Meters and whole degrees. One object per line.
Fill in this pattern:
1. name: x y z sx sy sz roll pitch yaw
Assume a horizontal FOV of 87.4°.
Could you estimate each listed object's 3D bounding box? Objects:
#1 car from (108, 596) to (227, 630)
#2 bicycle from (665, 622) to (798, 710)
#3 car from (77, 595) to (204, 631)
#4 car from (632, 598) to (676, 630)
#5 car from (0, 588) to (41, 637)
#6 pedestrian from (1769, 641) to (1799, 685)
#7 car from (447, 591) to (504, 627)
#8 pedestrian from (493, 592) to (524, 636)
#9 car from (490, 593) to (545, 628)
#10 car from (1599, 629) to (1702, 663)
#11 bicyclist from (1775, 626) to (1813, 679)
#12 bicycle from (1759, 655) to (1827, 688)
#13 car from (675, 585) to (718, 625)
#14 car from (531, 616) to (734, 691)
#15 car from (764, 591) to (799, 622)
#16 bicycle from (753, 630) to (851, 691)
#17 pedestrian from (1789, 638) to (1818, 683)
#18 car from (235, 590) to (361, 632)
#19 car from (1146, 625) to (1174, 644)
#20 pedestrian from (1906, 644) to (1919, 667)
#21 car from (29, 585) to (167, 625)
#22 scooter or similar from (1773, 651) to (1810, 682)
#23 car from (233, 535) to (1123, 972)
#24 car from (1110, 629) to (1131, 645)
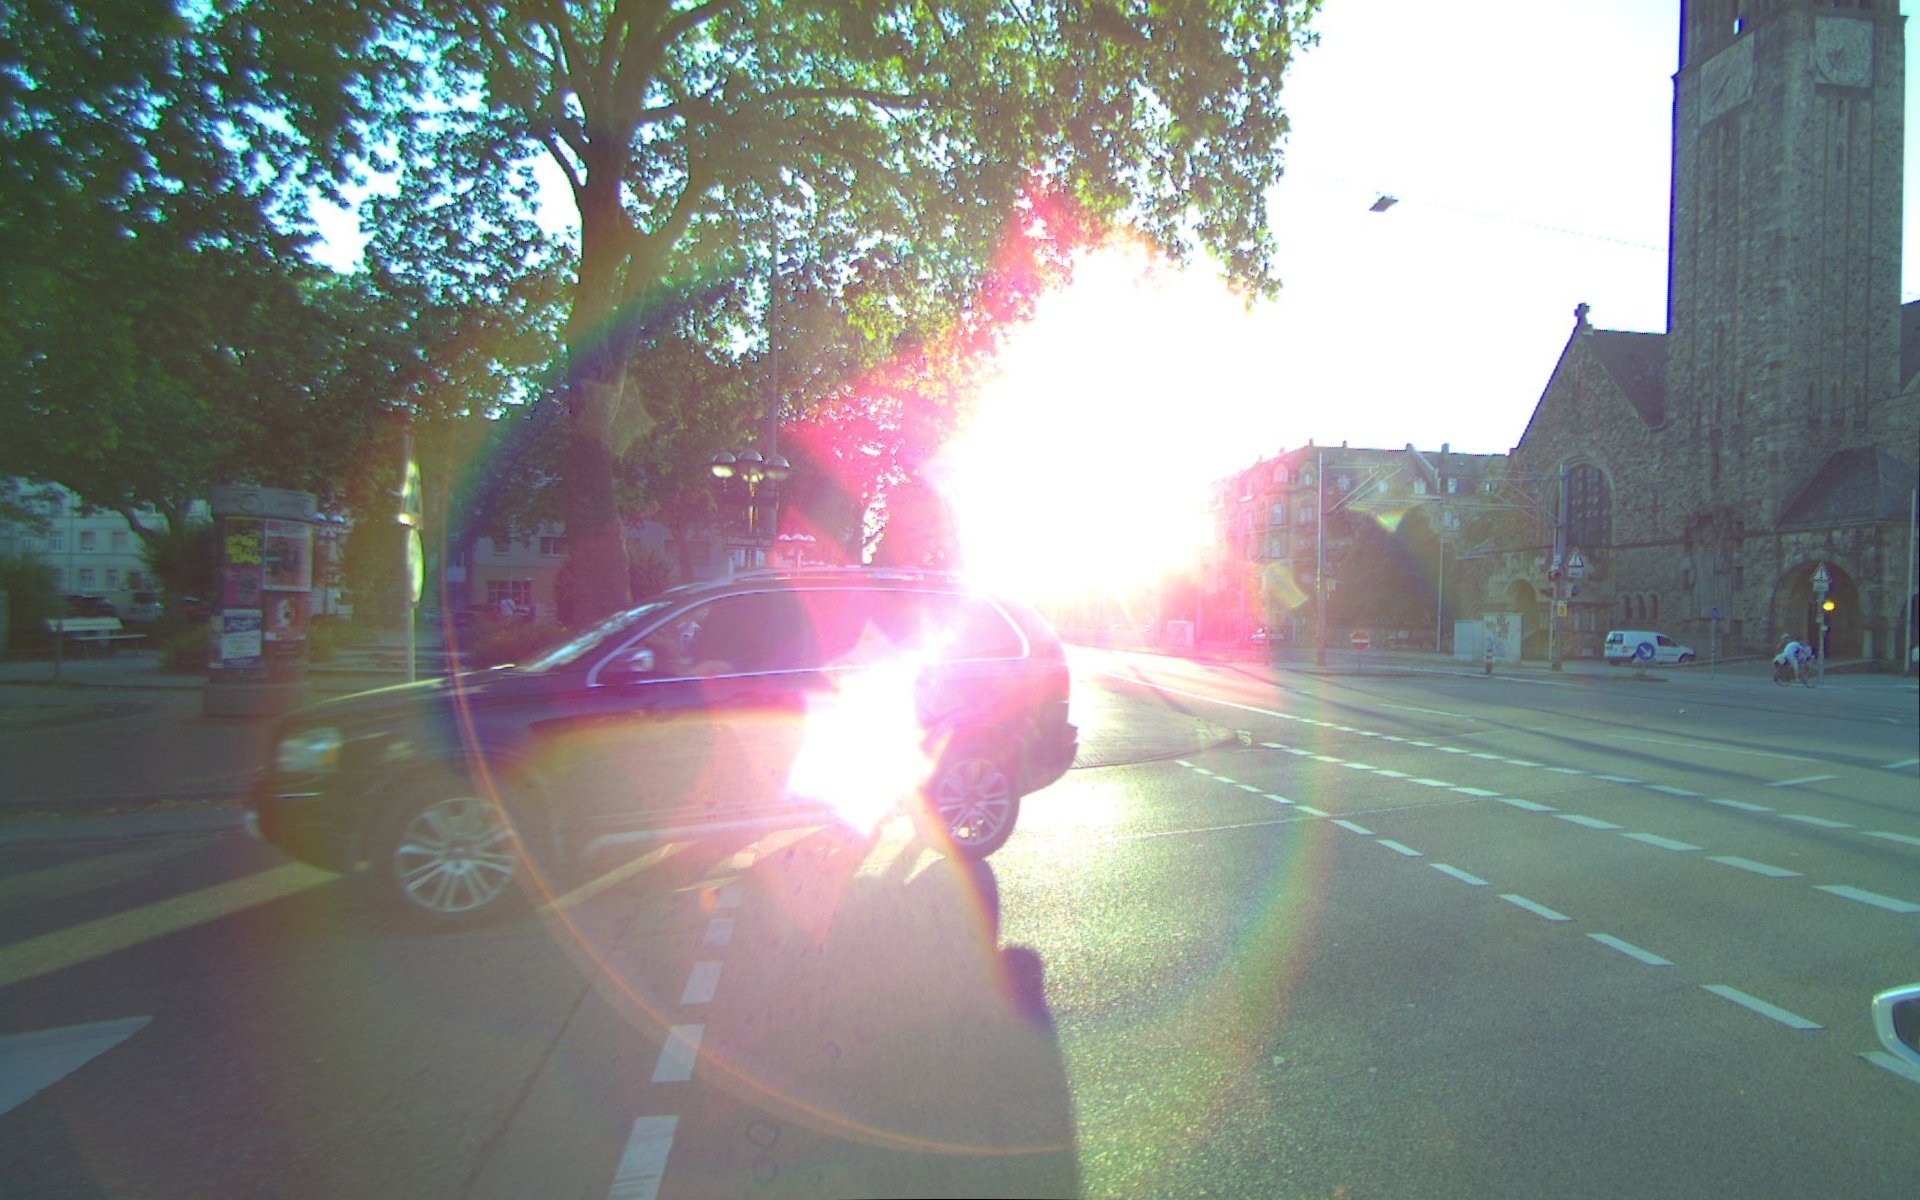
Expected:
1. car: -42.366 0.696 53.814 4.571 1.758 1.991 0 -2 -21
2. bicycle: -3.649 1.062 16.090 1.967 1.344 0.524 3 0 -25
3. car: -41.849 0.699 51.419 4.571 1.758 1.991 0 -2 -21
4. car: -19.285 0.843 63.420 1.882 1.873 3.996 2 0 -6
5. car: -34.482 0.412 34.916 1.642 1.684 3.760 2 0 -3
6. pedestrian: 32.991 2.525 40.217 0.593 1.721 0.633 2 0 -16
7. car: -30.037 0.550 62.396 1.963 2.040 3.995 2 0 -7
8. pedestrian: -17.909 0.565 39.851 0.869 1.694 0.740 2 0 -7
9. car: -27.584 0.662 62.767 1.963 2.040 3.995 2 0 -7
10. car: 36.532 2.437 53.159 4.371 1.537 1.718 3 0 -5
11. bicyclist: 29.996 1.873 36.132 0.844 1.851 0.657 1 0 -13
12. bicycle: 29.949 2.587 36.119 2.206 1.092 0.657 2 0 -13
13. car: -16.628 0.311 63.626 1.963 2.374 3.996 2 0 -7
14. car: -8.255 1.333 25.660 4.551 1.805 1.999 0 -2 -4
15. car: -11.388 0.415 64.303 1.882 1.873 3.996 2 0 -6
16. bicycle: -2.990 1.152 19.108 1.779 1.107 0.455 3 0 -32
17. pedestrian: 33.226 2.394 39.569 0.593 1.721 0.633 2 0 -18
18. car: -31.358 0.538 47.730 4.556 1.964 1.997 0 -2 -9
19. car: 23.742 4.095 119.279 1.964 2.040 3.993 3 0 -9
20. pedestrian: 41.899 2.452 43.940 0.471 0.973 0.522 2 0 -10
21. car: -41.642 0.275 48.661 4.577 1.834 1.992 0 -2 -19
22. scooter or similar: 32.436 2.592 39.199 1.061 1.118 0.633 3 0 -18
23. car: -1.454 0.721 6.249 4.742 1.808 1.984 1 -3 -31
24. car: 21.565 4.966 135.034 1.961 2.040 3.999 2 0 -2
